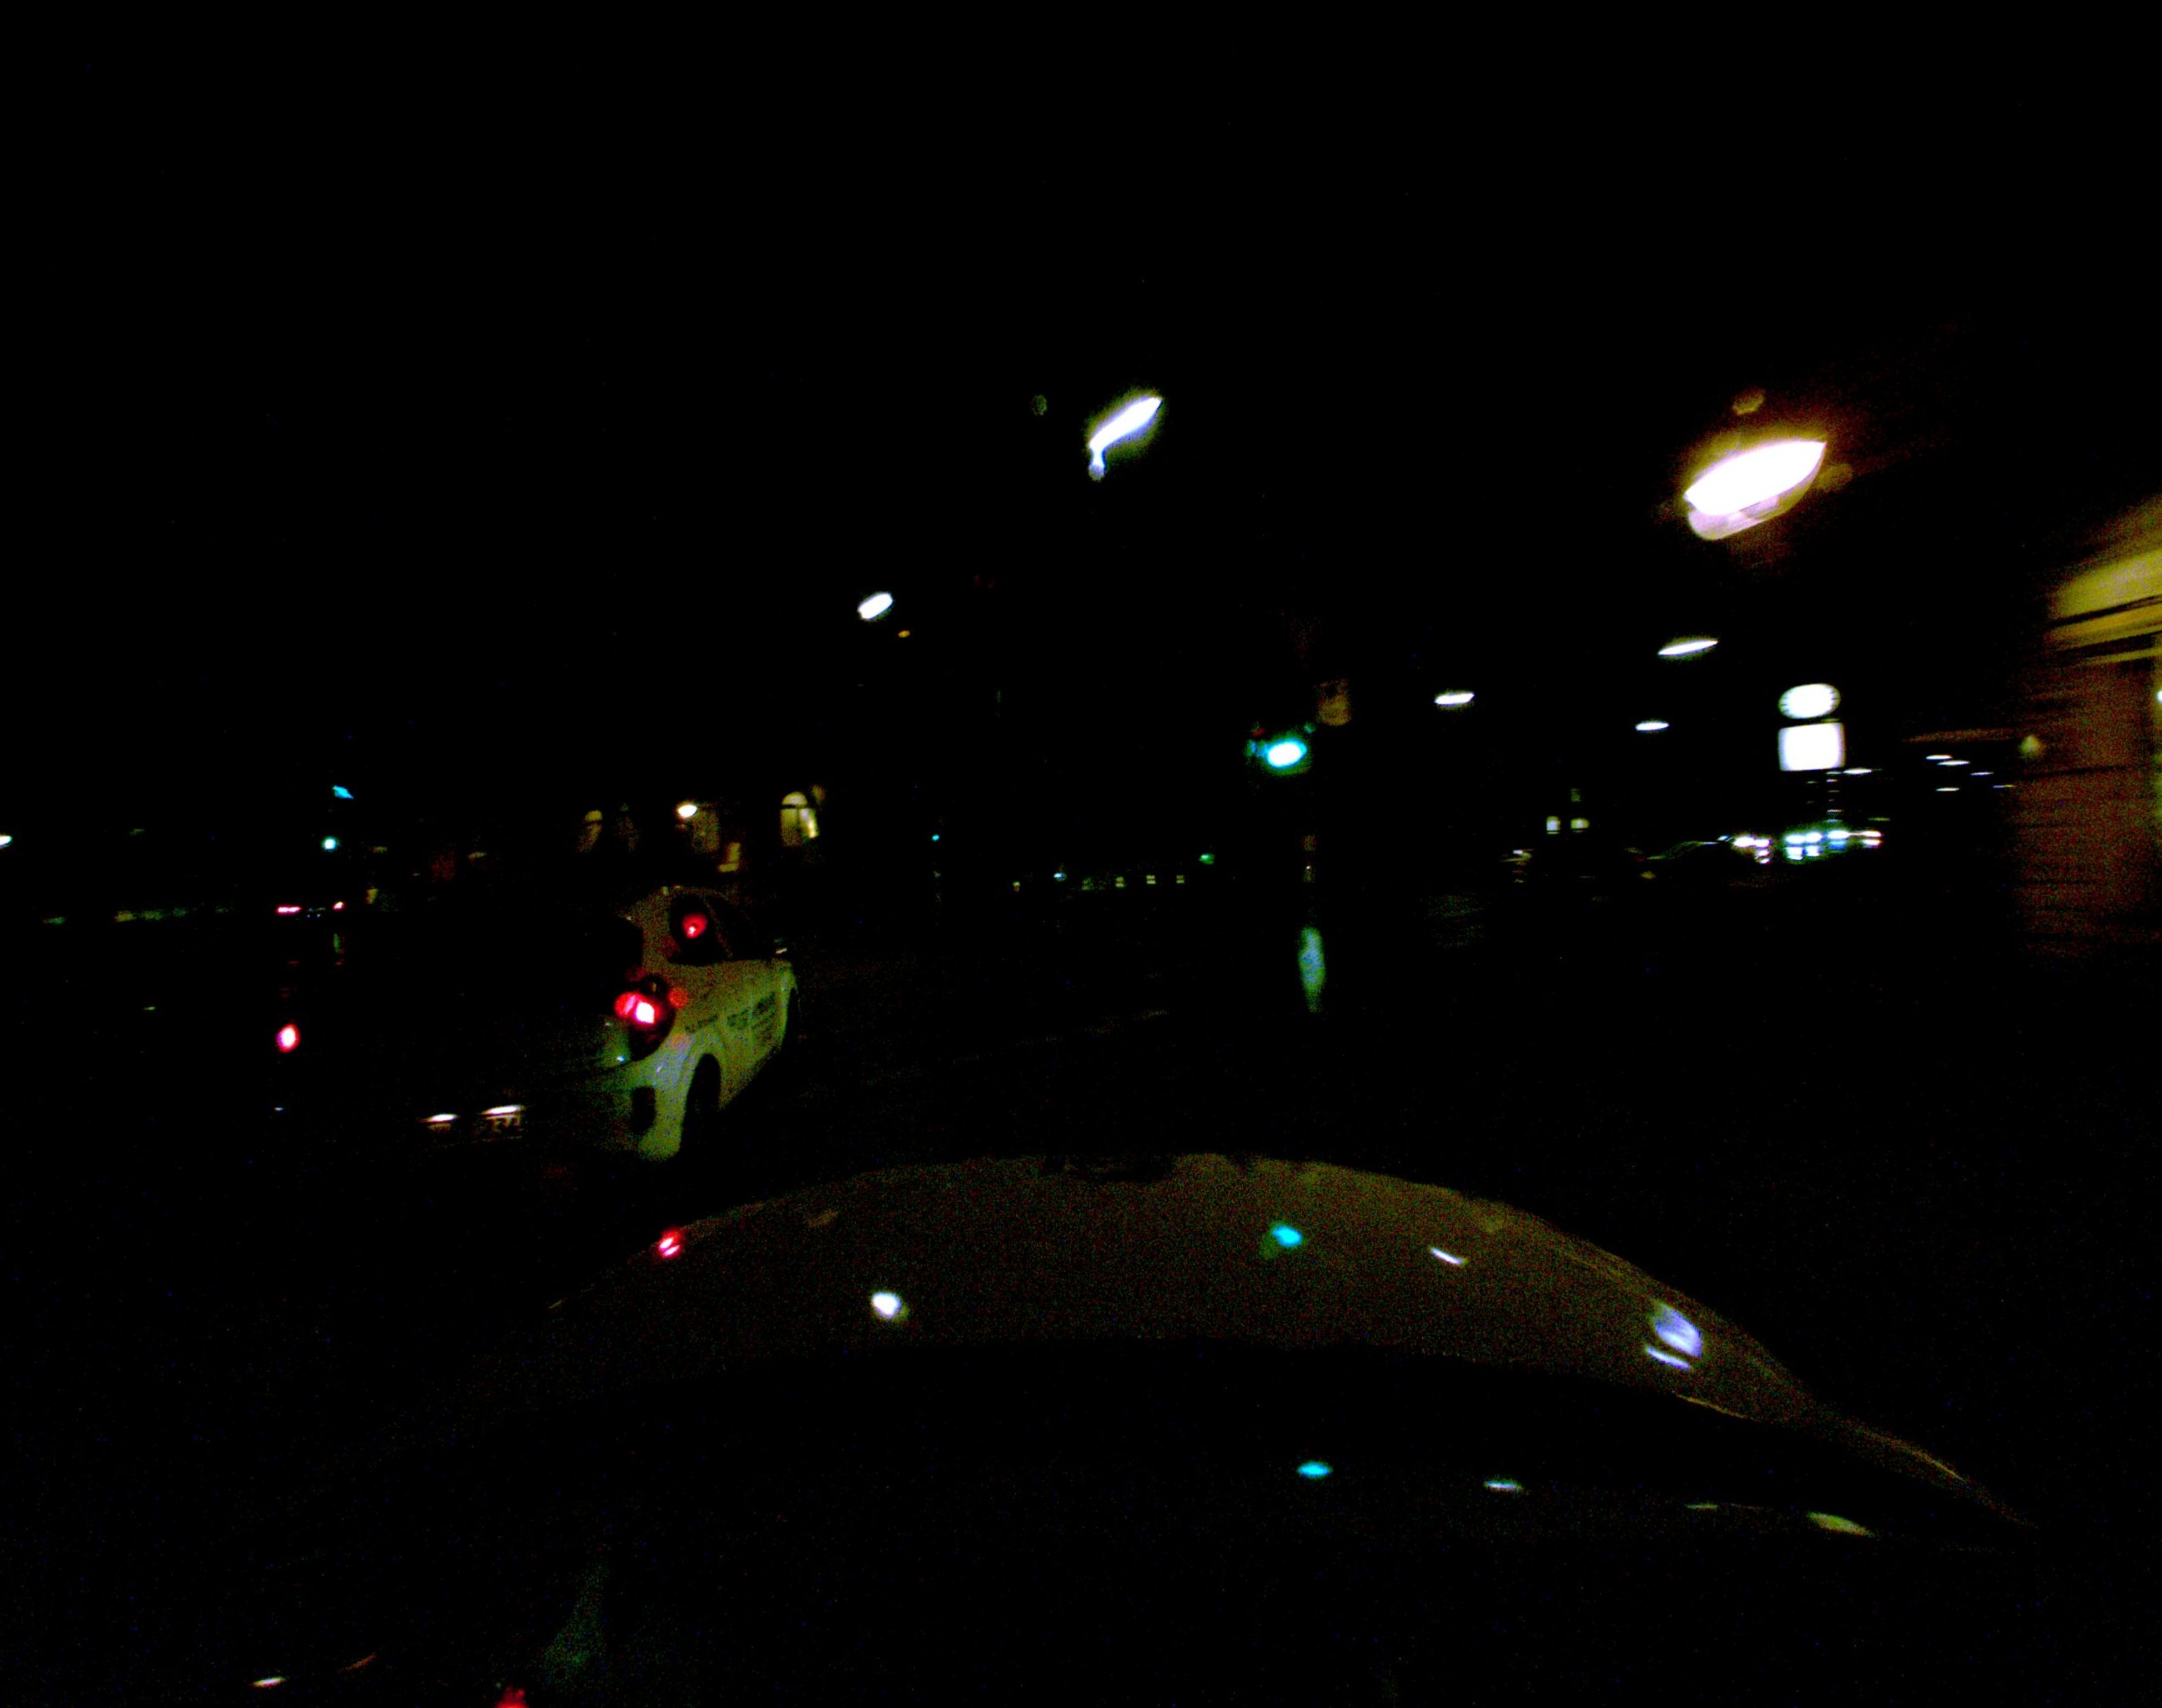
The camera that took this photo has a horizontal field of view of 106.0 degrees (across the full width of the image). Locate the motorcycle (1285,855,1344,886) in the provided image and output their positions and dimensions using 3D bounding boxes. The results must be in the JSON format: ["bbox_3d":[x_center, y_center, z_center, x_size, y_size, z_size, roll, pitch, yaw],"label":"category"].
[{"bbox_3d":[10.167,0.736,35.515,2.306,1.230,0.711,-3,-2,6],"label":"motorcycle"}]

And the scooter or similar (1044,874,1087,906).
[{"bbox_3d":[-0.558,1.241,28.512,1.372,1.052,0.636,0,1,-28],"label":"scooter or similar"}]

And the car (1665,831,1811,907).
[{"bbox_3d":[14.854,0.311,18.346,4.076,1.442,1.631,-2,-4,-39],"label":"car"}]

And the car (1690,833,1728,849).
[{"bbox_3d":[55.273,-1.136,71.701,4.019,1.386,1.655,-1,2,-37],"label":"car"}]

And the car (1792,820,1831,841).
[{"bbox_3d":[70.501,-2.276,78.589,4.659,1.879,1.910,-3,-1,-38],"label":"car"}]

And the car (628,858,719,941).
[{"bbox_3d":[-9.571,0.977,19.288,1.757,1.739,3.767,0,0,-25],"label":"car"}]

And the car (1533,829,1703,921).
[{"bbox_3d":[10.466,0.372,15.798,3.598,1.525,1.633,-2,-4,-39],"label":"car"}]

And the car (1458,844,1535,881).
[{"bbox_3d":[24.038,0.416,47.029,5.336,1.825,1.977,-3,3,-39],"label":"car"}]

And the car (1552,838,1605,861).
[{"bbox_3d":[33.245,-0.347,54.382,4.163,1.406,1.751,-2,2,-40],"label":"car"}]

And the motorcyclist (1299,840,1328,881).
[{"bbox_3d":[10.150,0.273,35.536,1.020,1.731,0.711,-3,-2,7],"label":"motorcyclist"}]

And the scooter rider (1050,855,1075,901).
[{"bbox_3d":[-0.657,0.819,28.460,0.654,1.573,0.636,0,1,-27],"label":"scooter rider"}]

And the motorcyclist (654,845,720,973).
[{"bbox_3d":[-5.449,0.725,11.311,0.793,1.695,0.813,0,0,-24],"label":"motorcyclist"}]

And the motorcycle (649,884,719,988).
[{"bbox_3d":[-5.490,1.077,11.378,0.793,1.213,2.232,0,0,-24],"label":"motorcycle"}]

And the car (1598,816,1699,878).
[{"bbox_3d":[24.459,-0.341,35.032,5.412,2.441,2.198,-2,1,-40],"label":"car"}]

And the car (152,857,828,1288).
[{"bbox_3d":[-2.835,0.835,5.024,1.919,1.515,3.586,-2,1,-10],"label":"car"}]
